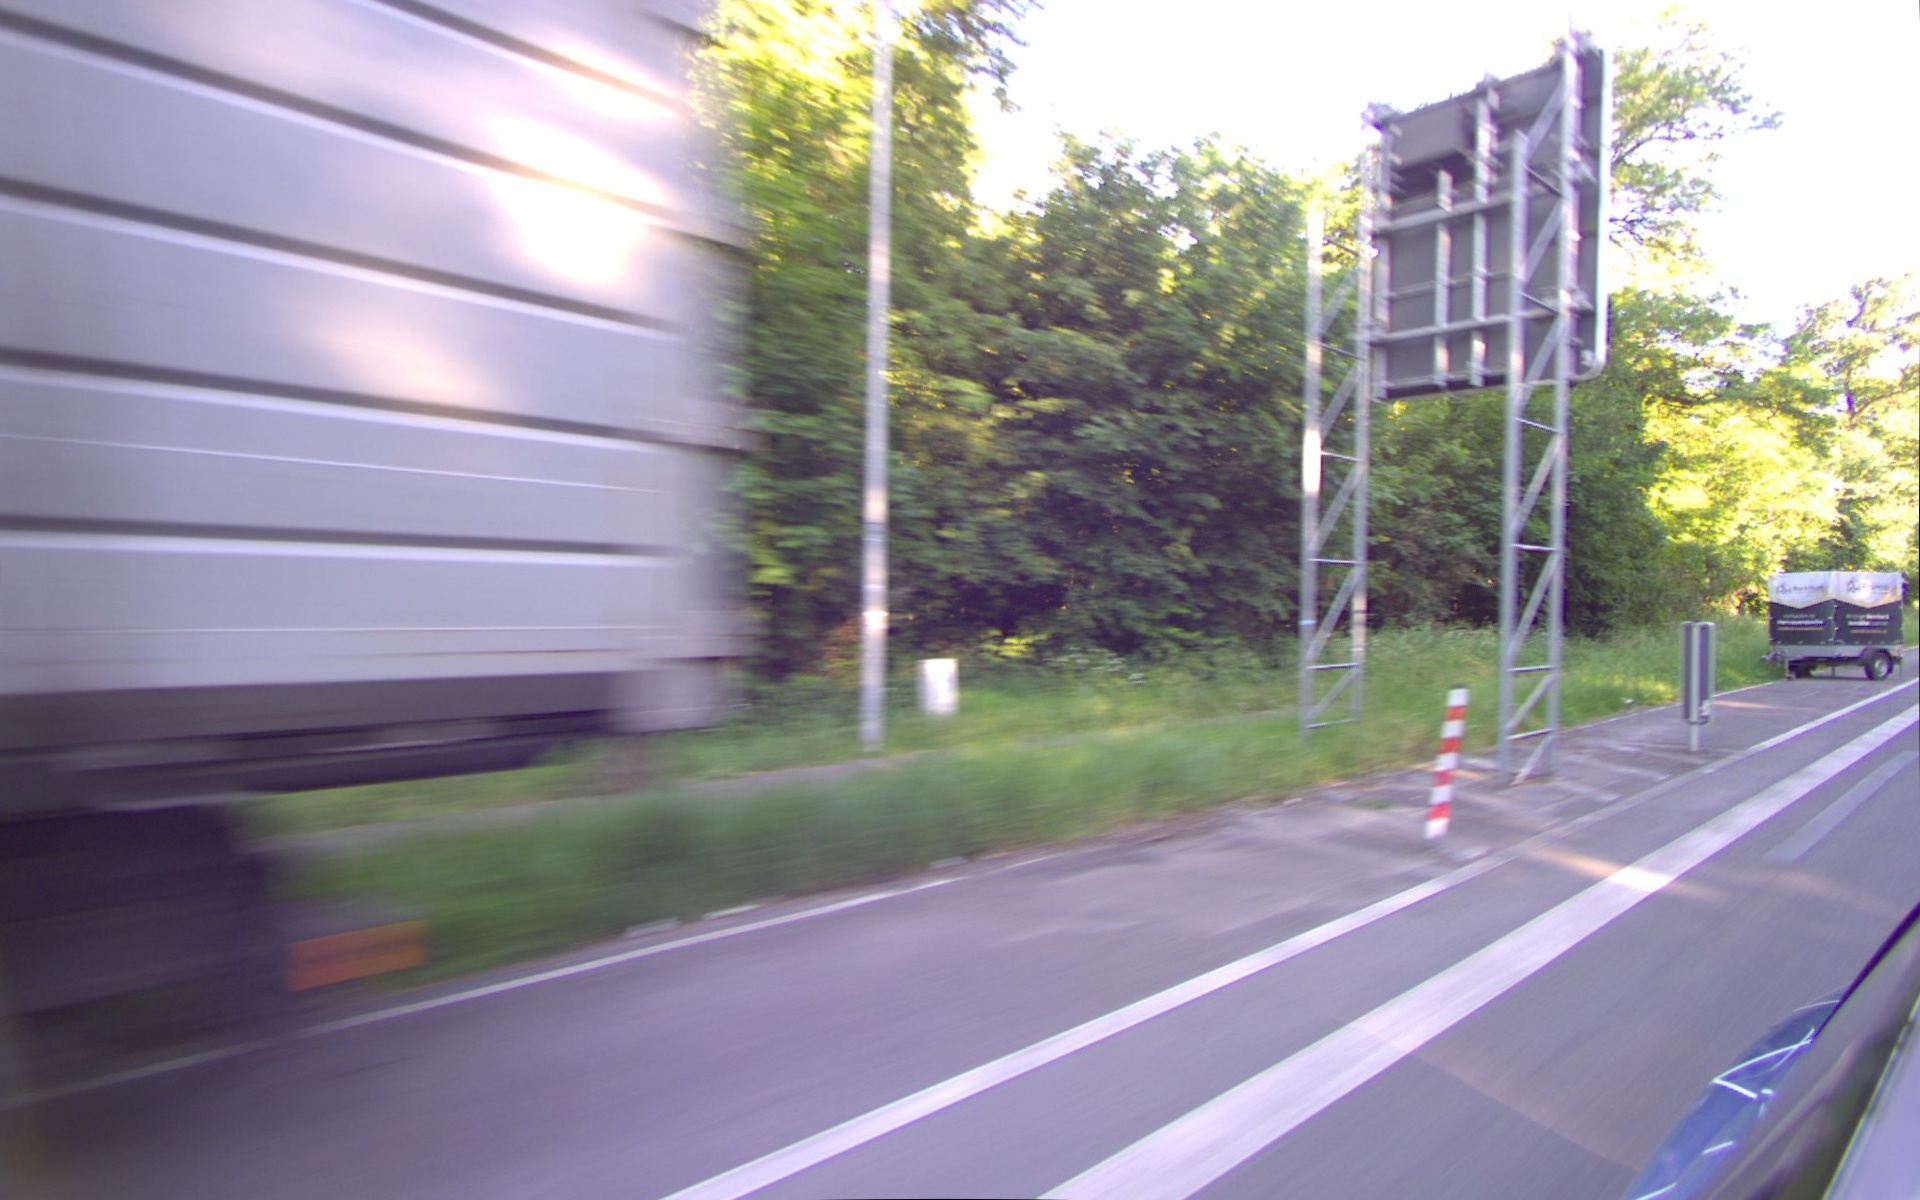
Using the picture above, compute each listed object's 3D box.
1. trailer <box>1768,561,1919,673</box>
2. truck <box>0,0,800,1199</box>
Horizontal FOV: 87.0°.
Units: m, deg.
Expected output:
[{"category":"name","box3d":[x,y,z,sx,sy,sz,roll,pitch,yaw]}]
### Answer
[{"category":"trailer","box3d":[18.073,0.320,20.533,2.346,2.139,1.623,0,0,-20]},{"category":"truck","box3d":[-3.857,-0.273,1.277,6.982,3.409,2.509,0,0,-41]}]
